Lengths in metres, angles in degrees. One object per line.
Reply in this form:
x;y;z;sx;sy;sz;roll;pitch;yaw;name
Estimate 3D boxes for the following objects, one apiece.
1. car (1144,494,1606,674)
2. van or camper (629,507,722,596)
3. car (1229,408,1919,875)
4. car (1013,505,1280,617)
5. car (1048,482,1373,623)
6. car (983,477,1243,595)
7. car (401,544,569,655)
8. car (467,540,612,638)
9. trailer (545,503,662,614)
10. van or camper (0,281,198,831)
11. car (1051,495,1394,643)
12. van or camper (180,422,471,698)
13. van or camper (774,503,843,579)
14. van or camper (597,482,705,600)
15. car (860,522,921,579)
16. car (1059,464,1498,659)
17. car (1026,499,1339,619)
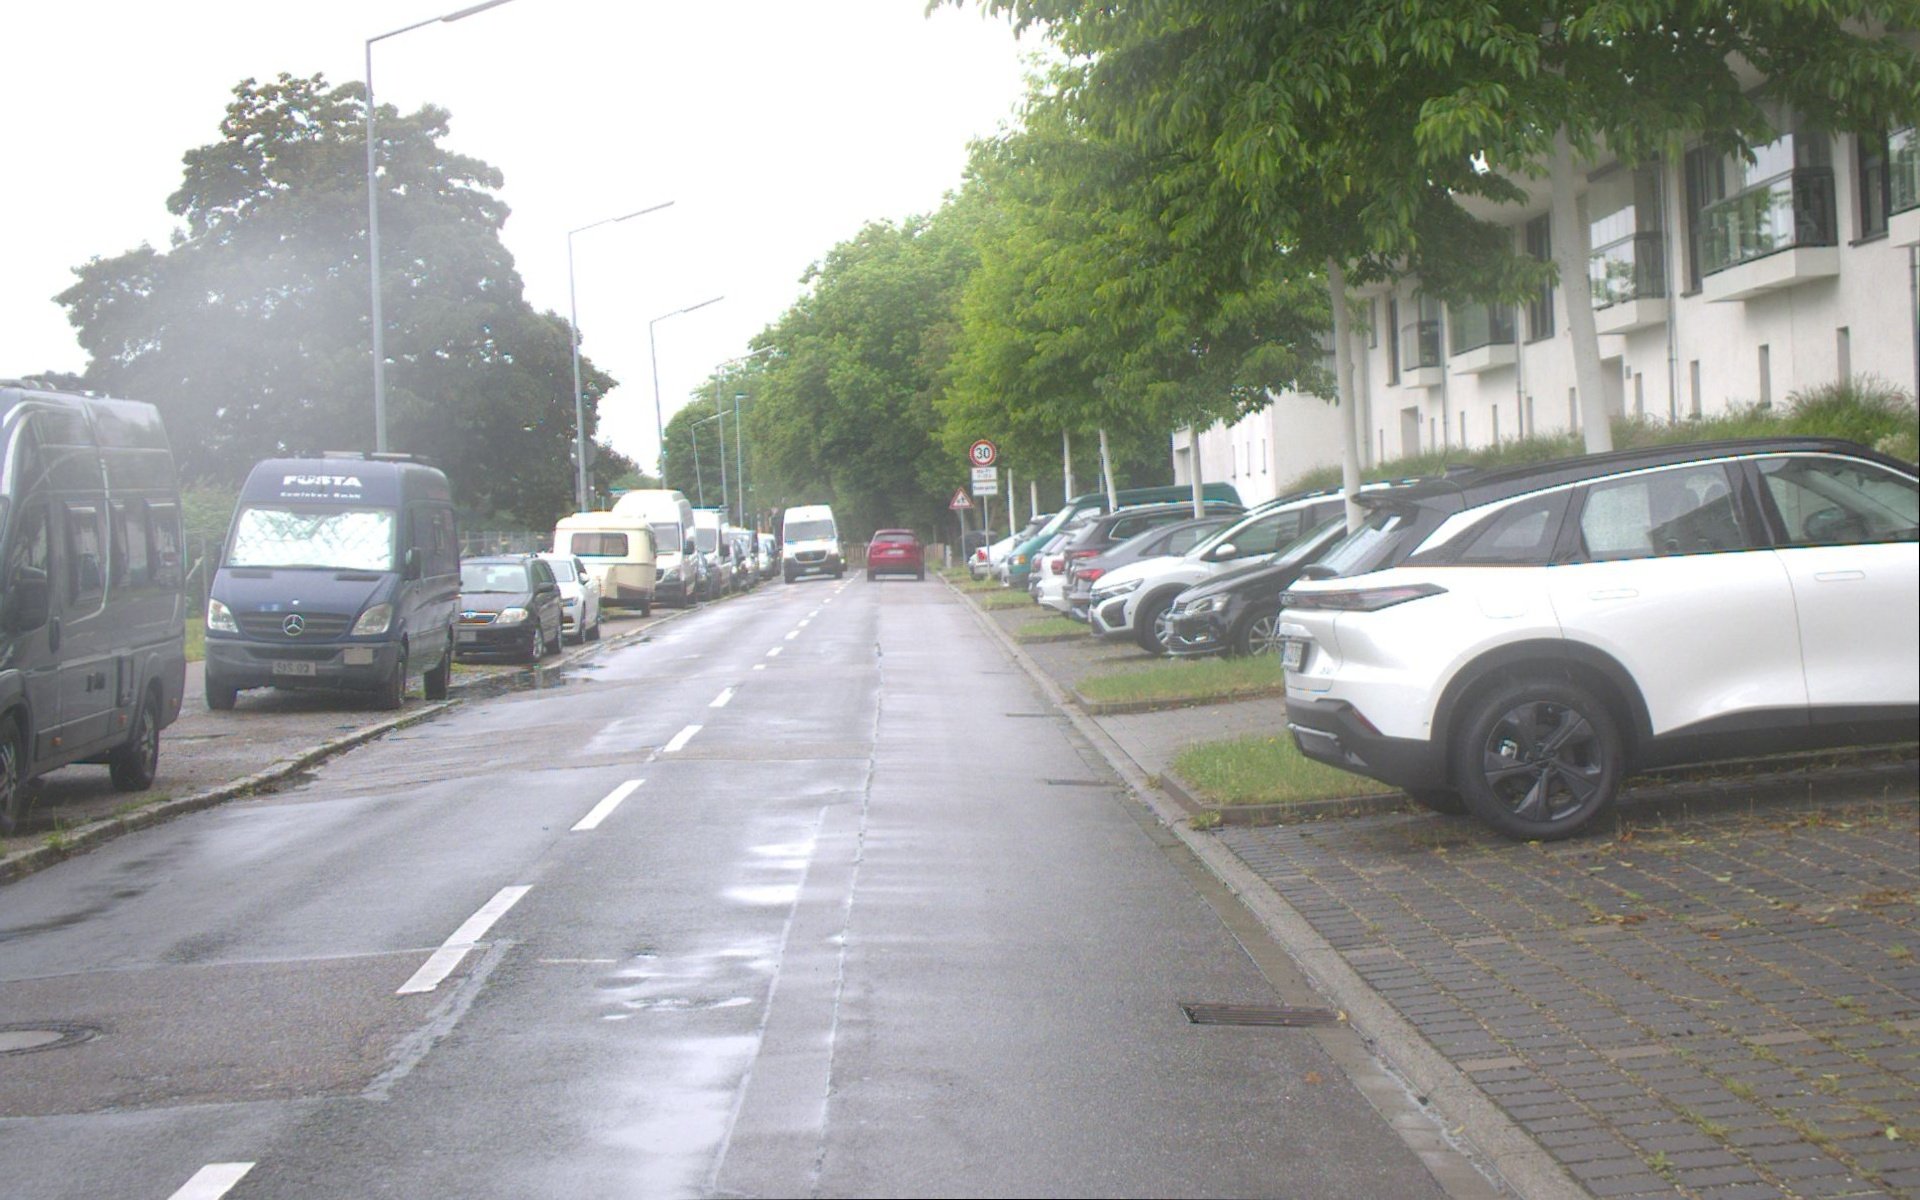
3.864;-0.173;32.467;3.986;1.490;1.937;-2;2;-4;car
-8.175;-1.411;99.426;2.189;2.453;6.377;-1;1;-1;van or camper
3.707;0.053;15.845;4.539;1.679;1.886;-7;1;-3;car
2.978;-0.636;55.390;4.030;1.494;1.632;-4;1;-4;car
3.424;-0.663;47.545;4.161;1.619;1.898;-4;1;-3;car
2.856;-1.208;64.781;4.617;2.012;1.858;-2;1;-5;car
-6.779;-0.044;49.489;1.774;1.497;4.828;0;1;0;car
-6.827;-0.214;56.259;1.887;1.520;5.110;0;1;-2;car
-7.430;-0.890;72.069;2.058;2.210;5.795;-1;1;-2;trailer
-6.521;-0.275;21.923;2.094;3.084;6.425;0;1;-2;van or camper
3.192;-0.401;42.359;3.987;1.504;1.684;-4;2;-1;car
-6.778;-0.427;37.578;2.094;2.706;7.575;0;0;-3;van or camper
-5.313;-2.095;121.369;1.993;2.488;7.178;-3;1;0;van or camper
-7.545;-1.440;84.569;1.993;2.752;7.899;-1;1;-1;van or camper
-2.252;-1.590;110.415;1.756;1.700;4.000;-3;1;-3;car
3.460;-0.442;37.941;4.476;1.681;1.936;-5;2;-2;car
3.197;-0.601;49.946;4.298;1.423;1.637;-4;1;-3;car
